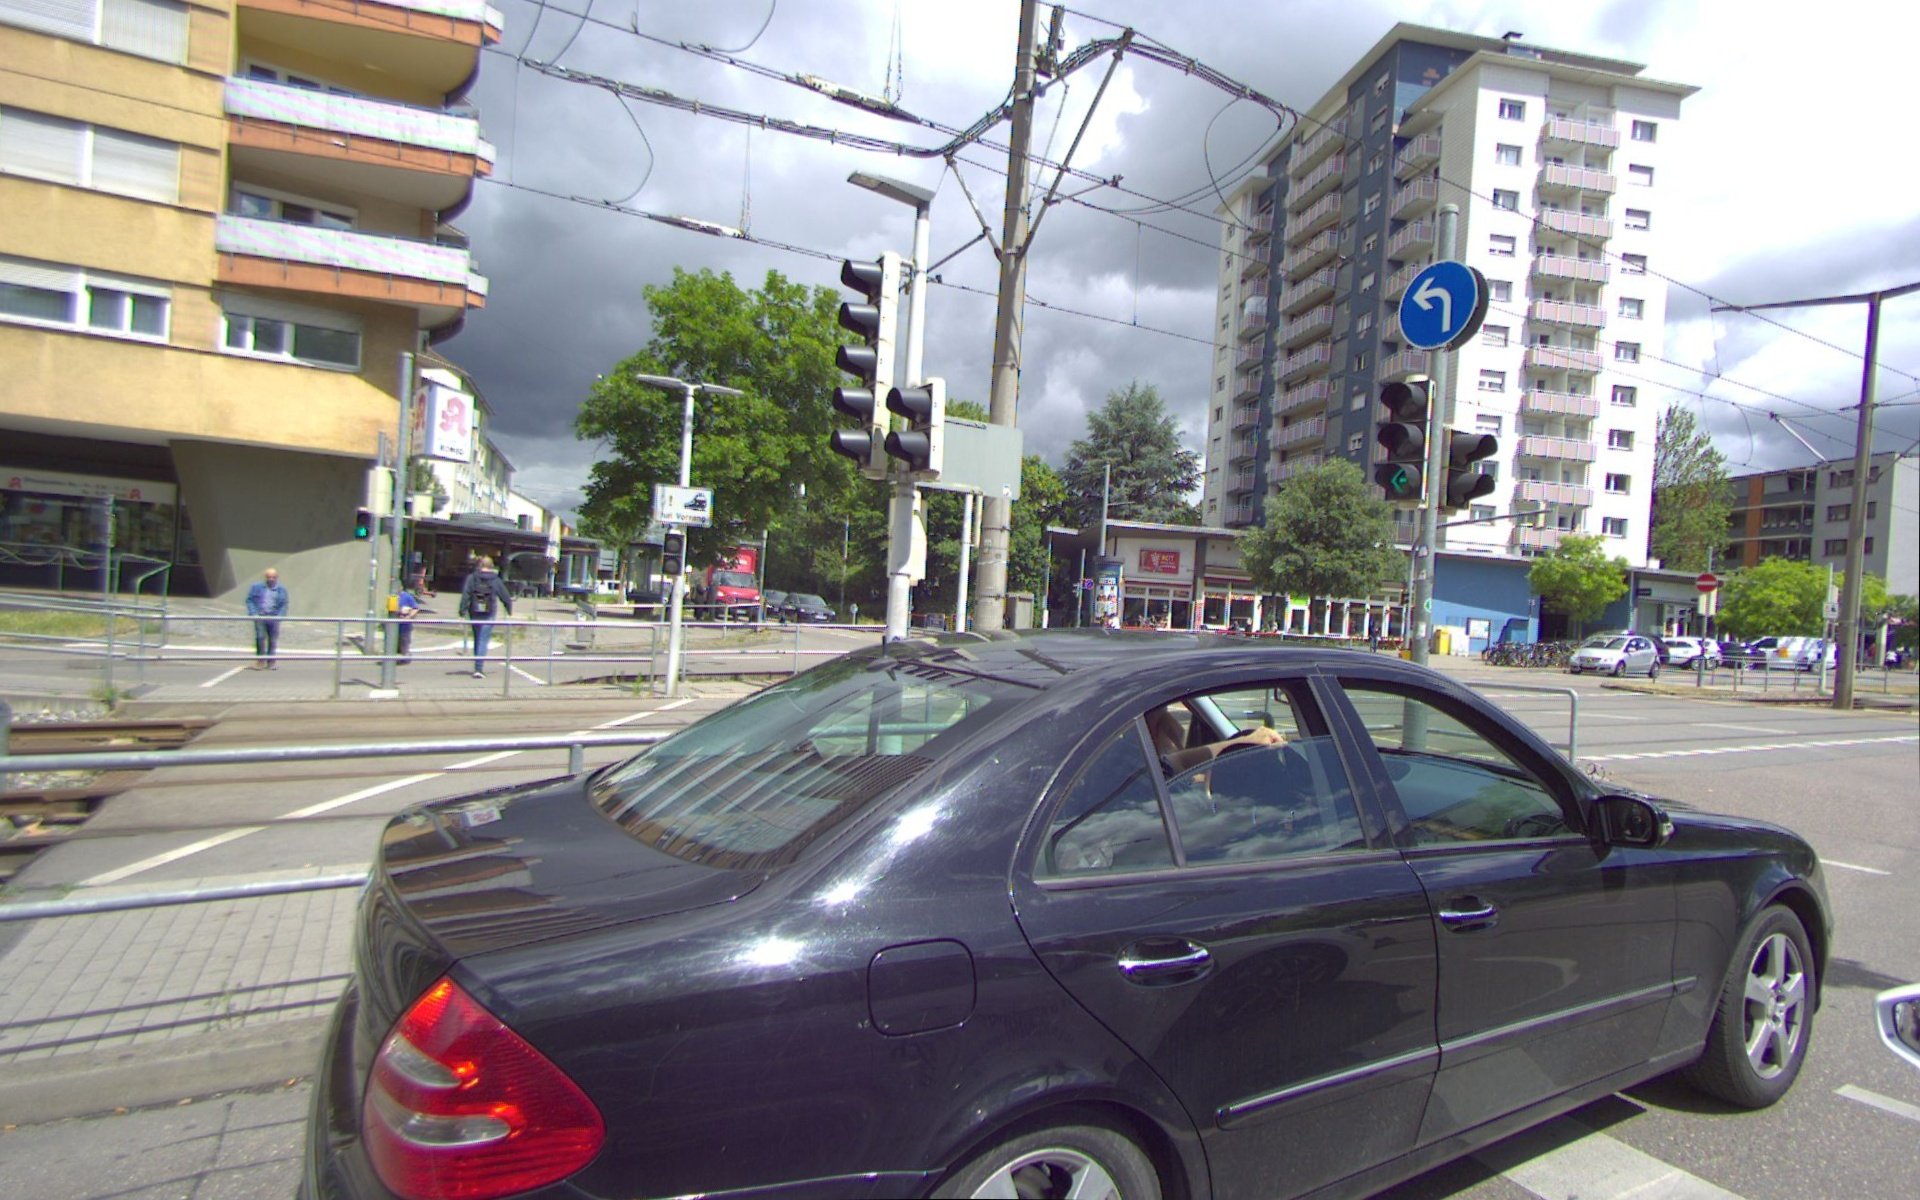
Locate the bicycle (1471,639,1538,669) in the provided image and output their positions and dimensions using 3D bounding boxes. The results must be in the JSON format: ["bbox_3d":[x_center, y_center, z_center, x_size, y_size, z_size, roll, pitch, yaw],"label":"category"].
[{"bbox_3d":[22.388,2.203,41.360,0.697,1.080,2.415,2,0,-30],"label":"bicycle"}]

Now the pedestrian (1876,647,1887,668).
[{"bbox_3d":[69.023,4.313,75.242,0.490,1.479,0.559,2,0,30],"label":"pedestrian"}]

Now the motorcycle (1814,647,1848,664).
[{"bbox_3d":[69.405,4.424,80.043,0.734,1.194,1.880,2,0,-34],"label":"motorcycle"}]

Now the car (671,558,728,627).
[{"bbox_3d":[-13.802,-0.377,53.014,1.971,3.343,6.271,2,0,-22],"label":"car"}]

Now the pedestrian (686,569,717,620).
[{"bbox_3d":[-9.567,-0.205,37.222,0.873,1.835,0.641,2,0,33],"label":"pedestrian"}]

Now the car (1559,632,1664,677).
[{"bbox_3d":[25.112,2.105,38.710,3.708,1.553,1.811,2,-1,-28],"label":"car"}]

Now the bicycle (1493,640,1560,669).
[{"bbox_3d":[23.813,2.267,42.240,0.697,1.080,2.415,2,0,-30],"label":"bicycle"}]

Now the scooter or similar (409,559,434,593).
[{"bbox_3d":[-18.395,-0.813,34.289,0.540,1.108,1.736,2,0,-34],"label":"scooter or similar"}]

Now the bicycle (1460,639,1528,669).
[{"bbox_3d":[21.731,2.173,40.950,0.697,1.080,2.415,2,0,-30],"label":"bicycle"}]

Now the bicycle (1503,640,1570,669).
[{"bbox_3d":[24.443,2.296,42.620,0.697,1.080,2.415,2,0,-30],"label":"bicycle"}]

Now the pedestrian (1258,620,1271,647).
[{"bbox_3d":[17.331,1.923,57.189,0.516,1.492,0.572,2,0,-2],"label":"pedestrian"}]

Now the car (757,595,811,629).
[{"bbox_3d":[-9.134,0.583,51.865,1.971,1.623,3.979,2,-1,-22],"label":"car"}]

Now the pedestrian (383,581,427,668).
[{"bbox_3d":[-9.966,0.434,18.040,0.641,1.533,0.715,2,0,-30],"label":"pedestrian"}]

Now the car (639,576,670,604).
[{"bbox_3d":[-24.817,-0.760,81.540,1.971,2.124,4.712,2,0,-22],"label":"car"}]

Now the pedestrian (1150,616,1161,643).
[{"bbox_3d":[11.106,1.677,57.092,0.515,1.492,0.572,2,0,1],"label":"pedestrian"}]

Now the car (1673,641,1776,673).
[{"bbox_3d":[40.940,3.034,53.883,3.920,1.402,1.907,2,0,17],"label":"car"}]

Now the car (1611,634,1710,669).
[{"bbox_3d":[35.123,2.571,50.479,3.691,1.516,1.748,2,0,19],"label":"car"}]

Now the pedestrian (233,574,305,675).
[{"bbox_3d":[-11.339,0.404,16.503,0.902,1.618,0.714,2,-1,-34],"label":"pedestrian"}]

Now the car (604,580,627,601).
[{"bbox_3d":[-36.128,-0.968,105.375,1.971,2.124,4.712,2,0,-22],"label":"car"}]

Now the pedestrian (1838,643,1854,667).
[{"bbox_3d":[61.356,3.794,69.563,0.654,1.594,0.687,2,0,30],"label":"pedestrian"}]

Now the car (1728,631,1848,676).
[{"bbox_3d":[45.385,2.902,55.165,4.666,2.185,1.907,2,0,17],"label":"car"}]

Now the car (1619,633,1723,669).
[{"bbox_3d":[37.037,2.640,52.414,3.919,1.653,1.908,2,0,13],"label":"car"}]

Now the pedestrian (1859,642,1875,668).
[{"bbox_3d":[63.994,3.868,70.871,0.834,1.816,0.607,2,0,-33],"label":"pedestrian"}]

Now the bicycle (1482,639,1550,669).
[{"bbox_3d":[23.077,2.234,41.744,0.697,1.080,2.415,2,0,-30],"label":"bicycle"}]

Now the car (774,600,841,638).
[{"bbox_3d":[-6.919,0.826,45.148,1.972,1.514,3.976,2,-1,-24],"label":"car"}]

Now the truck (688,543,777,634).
[{"bbox_3d":[-10.437,-0.502,45.542,2.512,3.723,7.057,2,0,-24],"label":"truck"}]

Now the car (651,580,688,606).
[{"bbox_3d":[-19.420,-0.440,67.091,1.971,1.623,3.979,2,-1,-22],"label":"car"}]

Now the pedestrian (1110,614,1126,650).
[{"bbox_3d":[6.775,1.370,42.956,0.516,1.492,0.518,2,0,-5],"label":"pedestrian"}]

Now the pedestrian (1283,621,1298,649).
[{"bbox_3d":[18.418,1.954,55.947,0.565,1.492,0.522,2,0,-28],"label":"pedestrian"}]

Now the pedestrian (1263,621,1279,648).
[{"bbox_3d":[17.268,1.907,55.777,0.565,1.492,0.522,2,0,-28],"label":"pedestrian"}]

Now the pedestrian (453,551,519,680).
[{"bbox_3d":[-7.524,0.249,15.988,0.841,1.960,0.916,2,0,-23],"label":"pedestrian"}]

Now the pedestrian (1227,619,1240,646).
[{"bbox_3d":[15.529,1.851,57.018,0.515,1.492,0.572,2,0,1],"label":"pedestrian"}]

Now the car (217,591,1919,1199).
[{"bbox_3d":[0.732,0.783,3.094,4.619,1.417,1.962,3,-1,-29],"label":"car"}]

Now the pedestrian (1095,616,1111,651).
[{"bbox_3d":[6.181,1.444,43.431,0.516,1.492,0.572,2,0,-5],"label":"pedestrian"}]

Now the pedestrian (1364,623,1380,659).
[{"bbox_3d":[19.319,1.907,47.083,0.594,1.665,0.414,2,0,-34],"label":"pedestrian"}]

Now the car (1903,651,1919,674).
[{"bbox_3d":[64.639,4.195,66.579,4.344,1.495,1.748,2,-1,-27],"label":"car"}]

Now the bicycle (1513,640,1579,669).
[{"bbox_3d":[25.074,2.324,43.043,0.697,1.080,2.415,2,0,-30],"label":"bicycle"}]

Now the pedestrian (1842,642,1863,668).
[{"bbox_3d":[58.844,3.624,66.239,0.606,1.672,0.836,2,1,-32],"label":"pedestrian"}]
